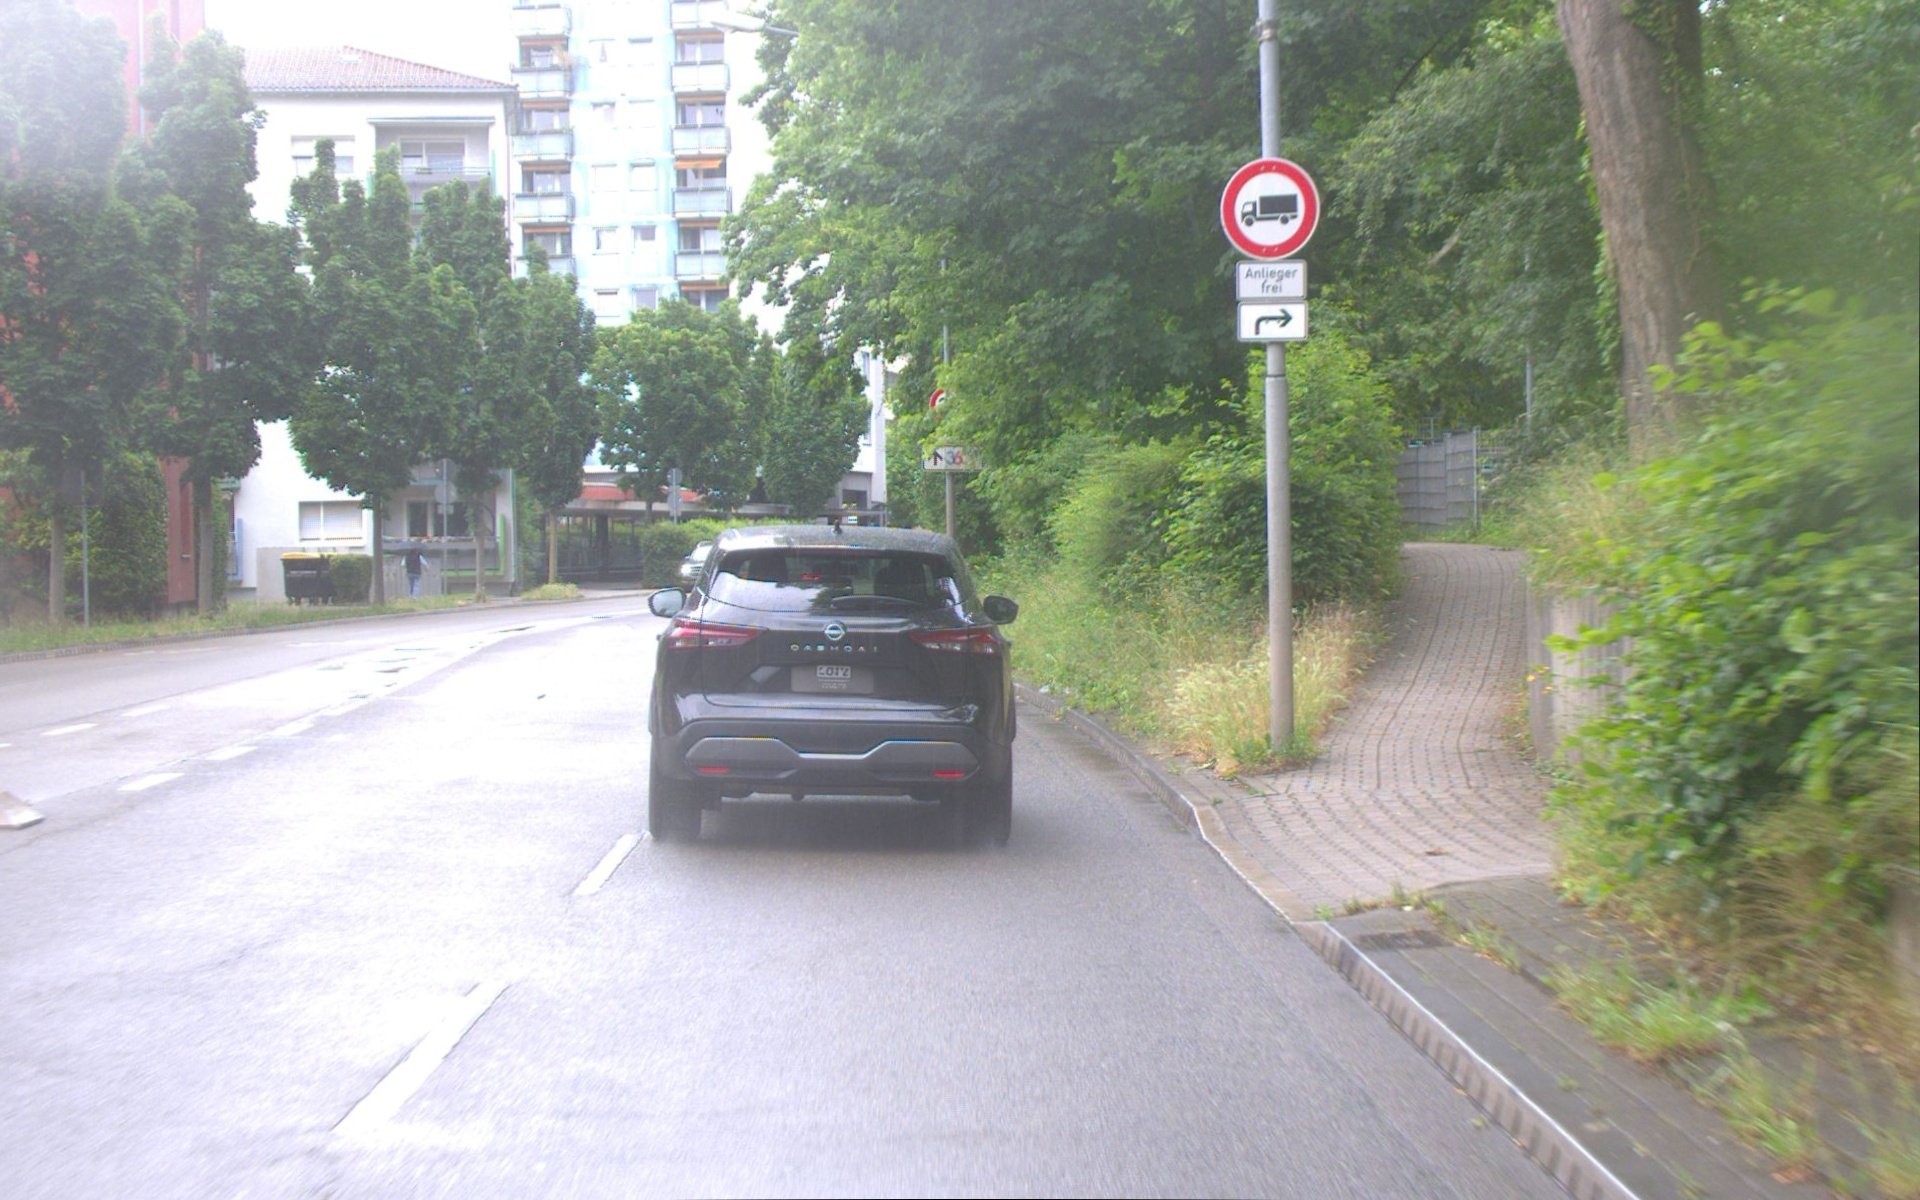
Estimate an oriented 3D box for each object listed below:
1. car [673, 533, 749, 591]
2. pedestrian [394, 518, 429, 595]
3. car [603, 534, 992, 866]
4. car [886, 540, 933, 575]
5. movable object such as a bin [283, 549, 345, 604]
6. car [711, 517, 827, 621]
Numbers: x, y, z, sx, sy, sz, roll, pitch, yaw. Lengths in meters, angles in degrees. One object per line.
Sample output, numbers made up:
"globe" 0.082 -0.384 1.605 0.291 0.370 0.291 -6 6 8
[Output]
"car" -8.184 -1.275 113.216 1.799 1.835 3.999 -1 1 5
"pedestrian" -14.382 -1.137 90.168 0.716 2.007 0.950 -1 1 -1
"car" -0.874 0.447 18.387 1.844 1.577 4.001 0 1 -3
"car" -1.993 -1.686 137.155 1.500 1.344 3.360 -1 1 5
"movable object such as a bin" -16.390 -0.591 87.211 1.321 1.357 1.258 -1 1 0
"car" -3.201 -0.530 58.363 1.887 1.705 4.000 0 1 -2
